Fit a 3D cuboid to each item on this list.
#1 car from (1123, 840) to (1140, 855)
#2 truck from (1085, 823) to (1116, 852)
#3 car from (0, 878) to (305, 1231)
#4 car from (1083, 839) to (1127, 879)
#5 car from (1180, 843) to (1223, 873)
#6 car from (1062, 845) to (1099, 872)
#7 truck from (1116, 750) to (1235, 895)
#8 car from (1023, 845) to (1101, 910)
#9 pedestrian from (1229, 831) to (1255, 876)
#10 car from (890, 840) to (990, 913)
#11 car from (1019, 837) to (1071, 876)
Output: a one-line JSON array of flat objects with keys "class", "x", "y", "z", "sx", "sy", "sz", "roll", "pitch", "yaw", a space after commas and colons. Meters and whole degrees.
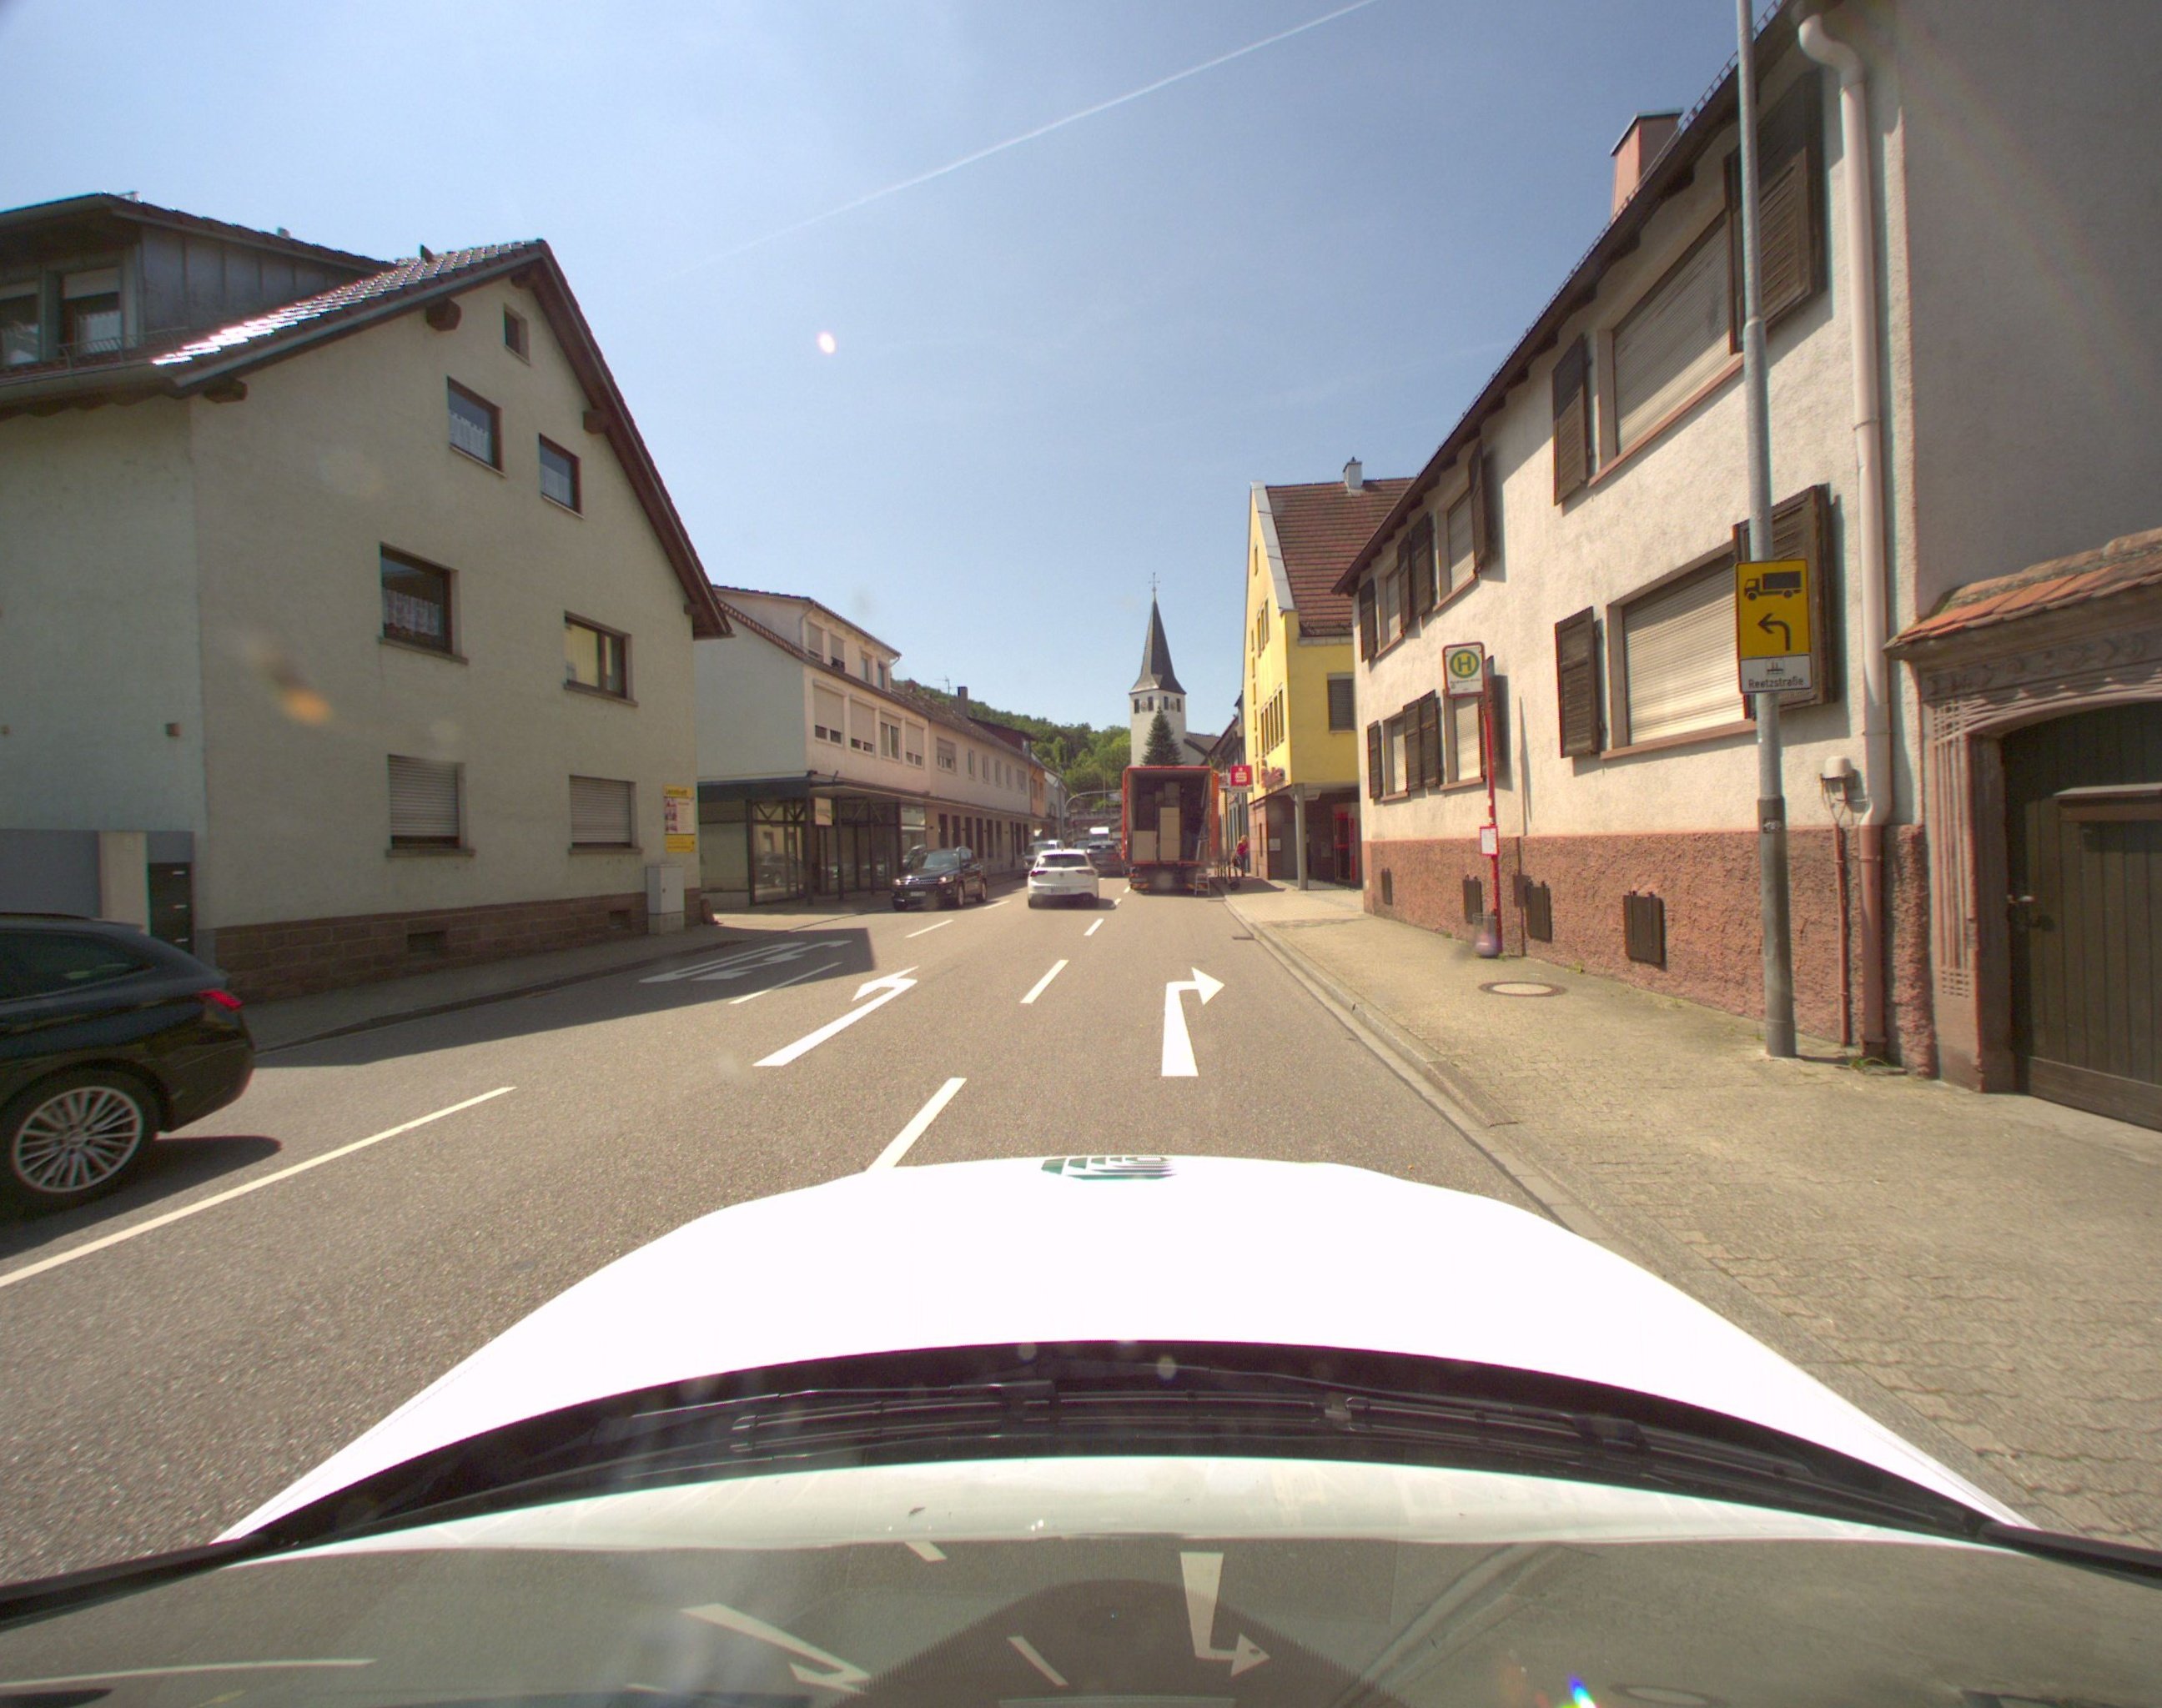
[{"class": "car", "x": 5.682, "y": -0.692, "z": 91.142, "sx": 1.754, "sy": 1.498, "sz": 4.003, "roll": -3, "pitch": 0, "yaw": 3}, {"class": "truck", "x": 1.833, "y": -1.473, "z": 75.027, "sx": 2.106, "sy": 2.474, "sz": 5.748, "roll": -3, "pitch": 0, "yaw": 7}, {"class": "car", "x": -5.634, "y": 0.927, "z": 2.653, "sx": 1.786, "sy": 1.493, "sz": 4.424, "roll": -3, "pitch": 0, "yaw": 2}, {"class": "car", "x": 1.087, "y": 0.220, "z": 37.048, "sx": 1.808, "sy": 1.628, "sz": 4.001, "roll": -3, "pitch": 0, "yaw": 1}, {"class": "car", "x": 6.600, "y": 0.226, "z": 45.065, "sx": 1.808, "sy": 1.519, "sz": 4.001, "roll": -3, "pitch": 0, "yaw": 1}, {"class": "car", "x": 0.014, "y": 0.315, "z": 55.849, "sx": 1.983, "sy": 1.651, "sz": 4.008, "roll": -3, "pitch": 0, "yaw": 7}, {"class": "truck", "x": 3.158, "y": -0.930, "z": 29.349, "sx": 3.352, "sy": 4.170, "sz": 9.528, "roll": -3, "pitch": 0, "yaw": 4}, {"class": "car", "x": -0.409, "y": 0.561, "z": 21.348, "sx": 1.808, "sy": 1.519, "sz": 4.001, "roll": -1, "pitch": 0, "yaw": 1}, {"class": "pedestrian", "x": 6.405, "y": -0.017, "z": 32.496, "sx": 0.766, "sy": 1.742, "sz": 0.870, "roll": -3, "pitch": -1, "yaw": -1}, {"class": "car", "x": -3.783, "y": 0.532, "z": 22.523, "sx": 1.684, "sy": 1.698, "sz": 4.117, "roll": -3, "pitch": 1, "yaw": 4}, {"class": "car", "x": -1.751, "y": 0.074, "z": 41.084, "sx": 1.792, "sy": 1.779, "sz": 4.714, "roll": -3, "pitch": 1, "yaw": 7}]
